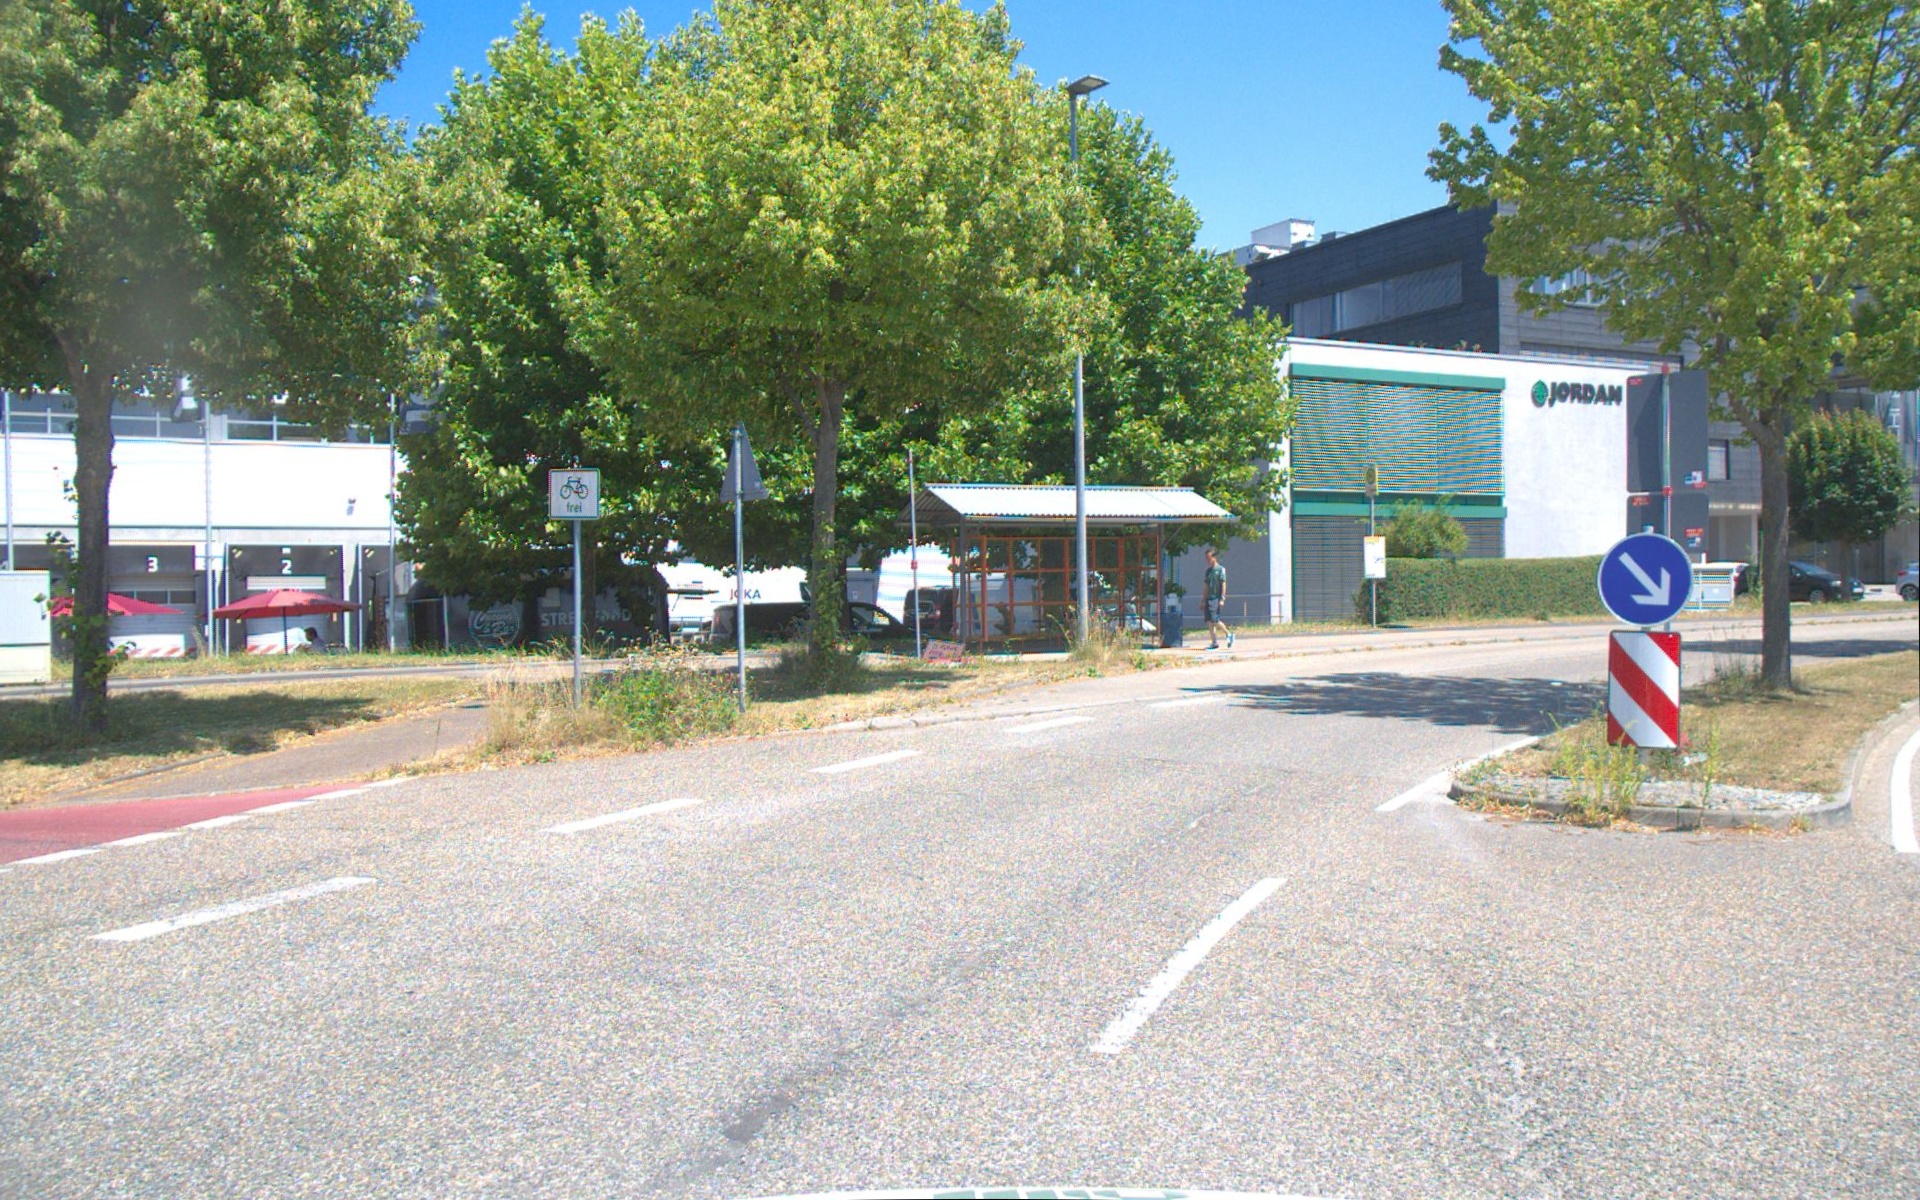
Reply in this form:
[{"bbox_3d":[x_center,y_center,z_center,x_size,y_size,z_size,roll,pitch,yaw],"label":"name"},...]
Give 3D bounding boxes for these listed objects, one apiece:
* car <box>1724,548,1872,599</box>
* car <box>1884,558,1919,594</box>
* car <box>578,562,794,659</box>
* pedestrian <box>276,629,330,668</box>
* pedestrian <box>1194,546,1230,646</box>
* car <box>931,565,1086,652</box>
[{"bbox_3d":[26.376,-0.808,52.182,1.681,1.403,3.880,-3,0,-29],"label":"car"},{"bbox_3d":[34.501,-0.890,57.280,1.472,1.203,4.235,1,-2,-29],"label":"car"},{"bbox_3d":[-5.556,0.198,33.614,3.940,1.758,1.825,-3,0,-27],"label":"car"},{"bbox_3d":[-12.739,0.930,32.077,0.847,0.707,0.407,-2,0,-5],"label":"pedestrian"},{"bbox_3d":[4.320,-0.064,28.355,0.518,1.699,0.579,0,-2,-1],"label":"pedestrian"},{"bbox_3d":[1.165,0.269,41.253,1.533,2.049,4.205,2,-3,-39],"label":"car"}]
